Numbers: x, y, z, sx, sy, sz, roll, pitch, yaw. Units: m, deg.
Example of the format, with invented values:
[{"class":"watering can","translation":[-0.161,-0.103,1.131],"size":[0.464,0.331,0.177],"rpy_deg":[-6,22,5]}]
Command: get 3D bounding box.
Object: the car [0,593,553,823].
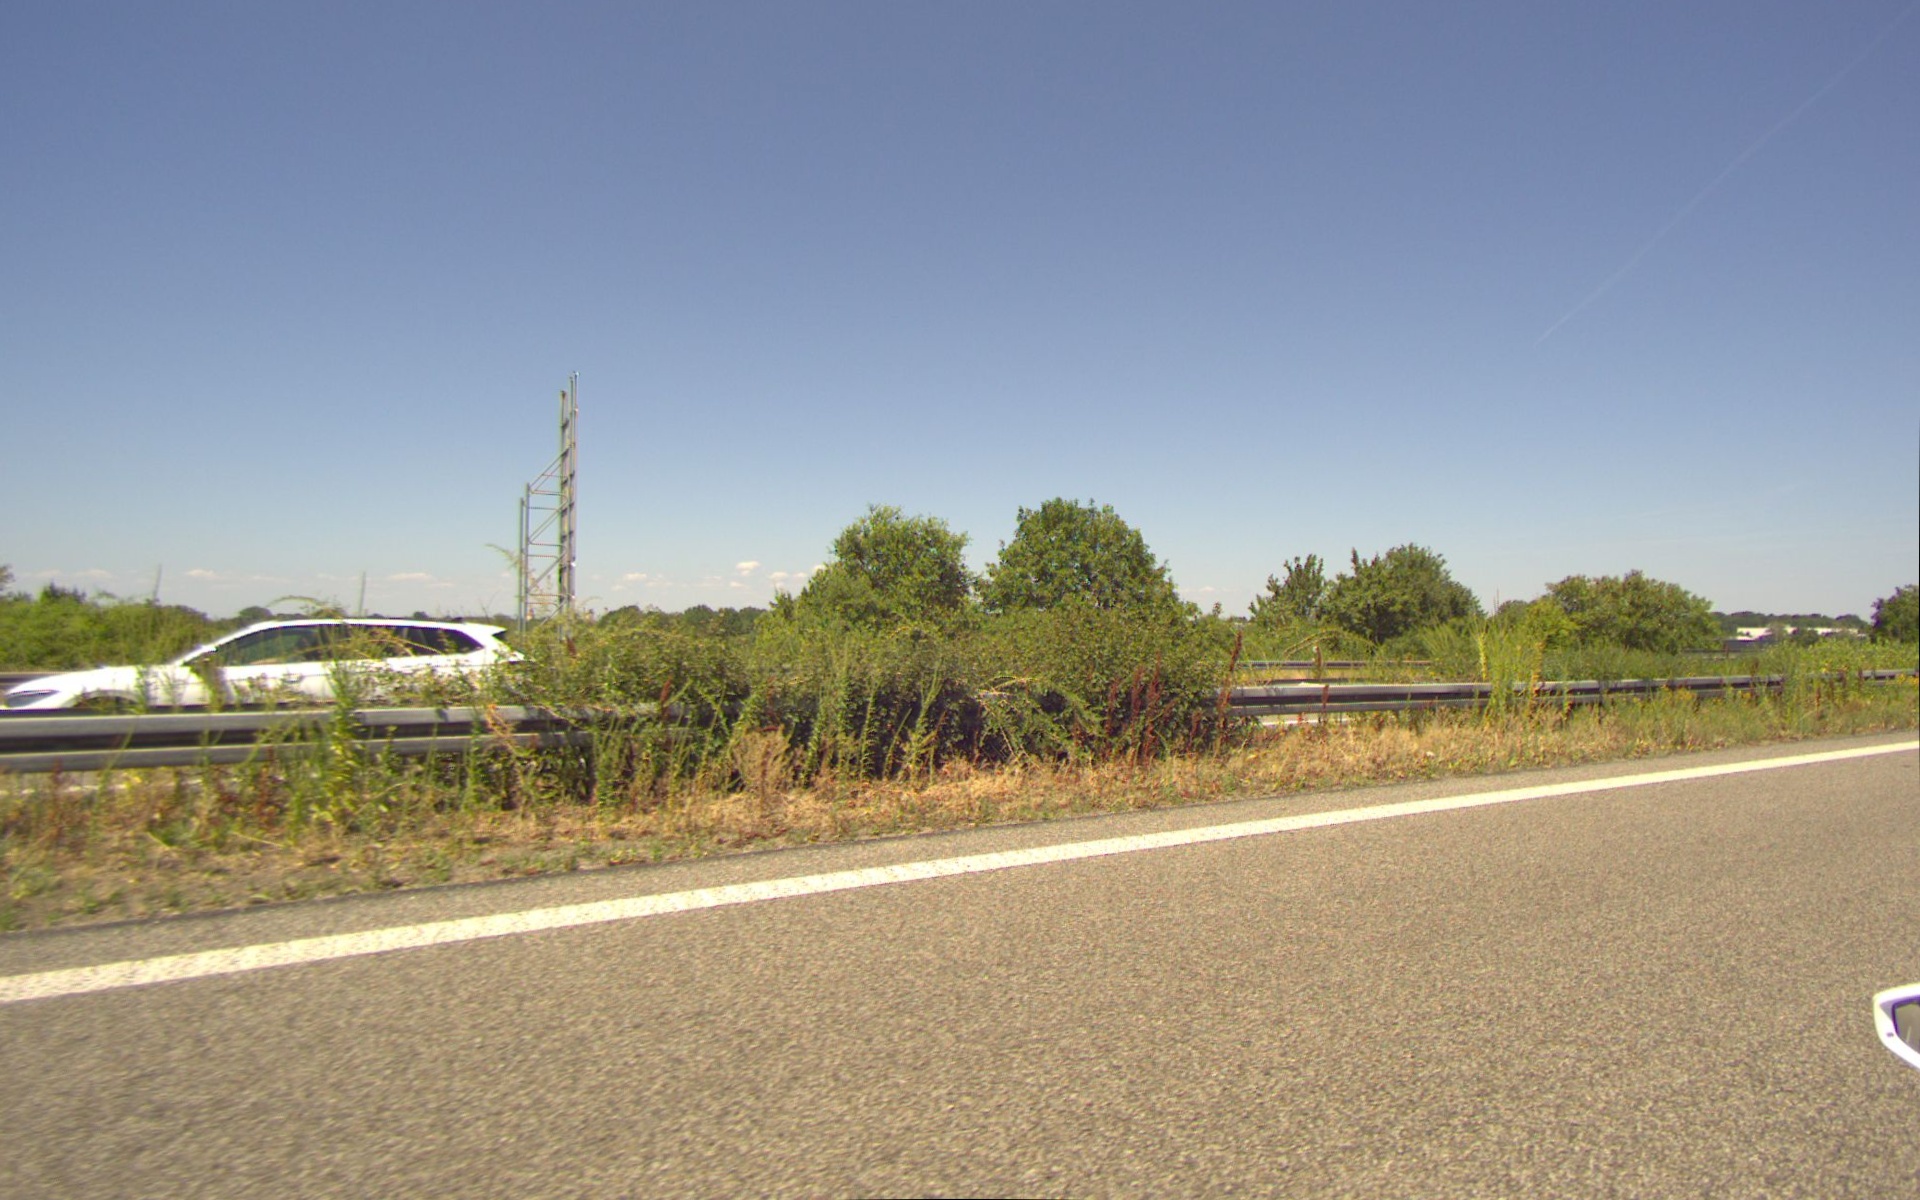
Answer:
[{"class":"car","translation":[-7.117,1.008,10.964],"size":[4.701,2.040,1.983],"rpy_deg":[1,0,-31]}]
